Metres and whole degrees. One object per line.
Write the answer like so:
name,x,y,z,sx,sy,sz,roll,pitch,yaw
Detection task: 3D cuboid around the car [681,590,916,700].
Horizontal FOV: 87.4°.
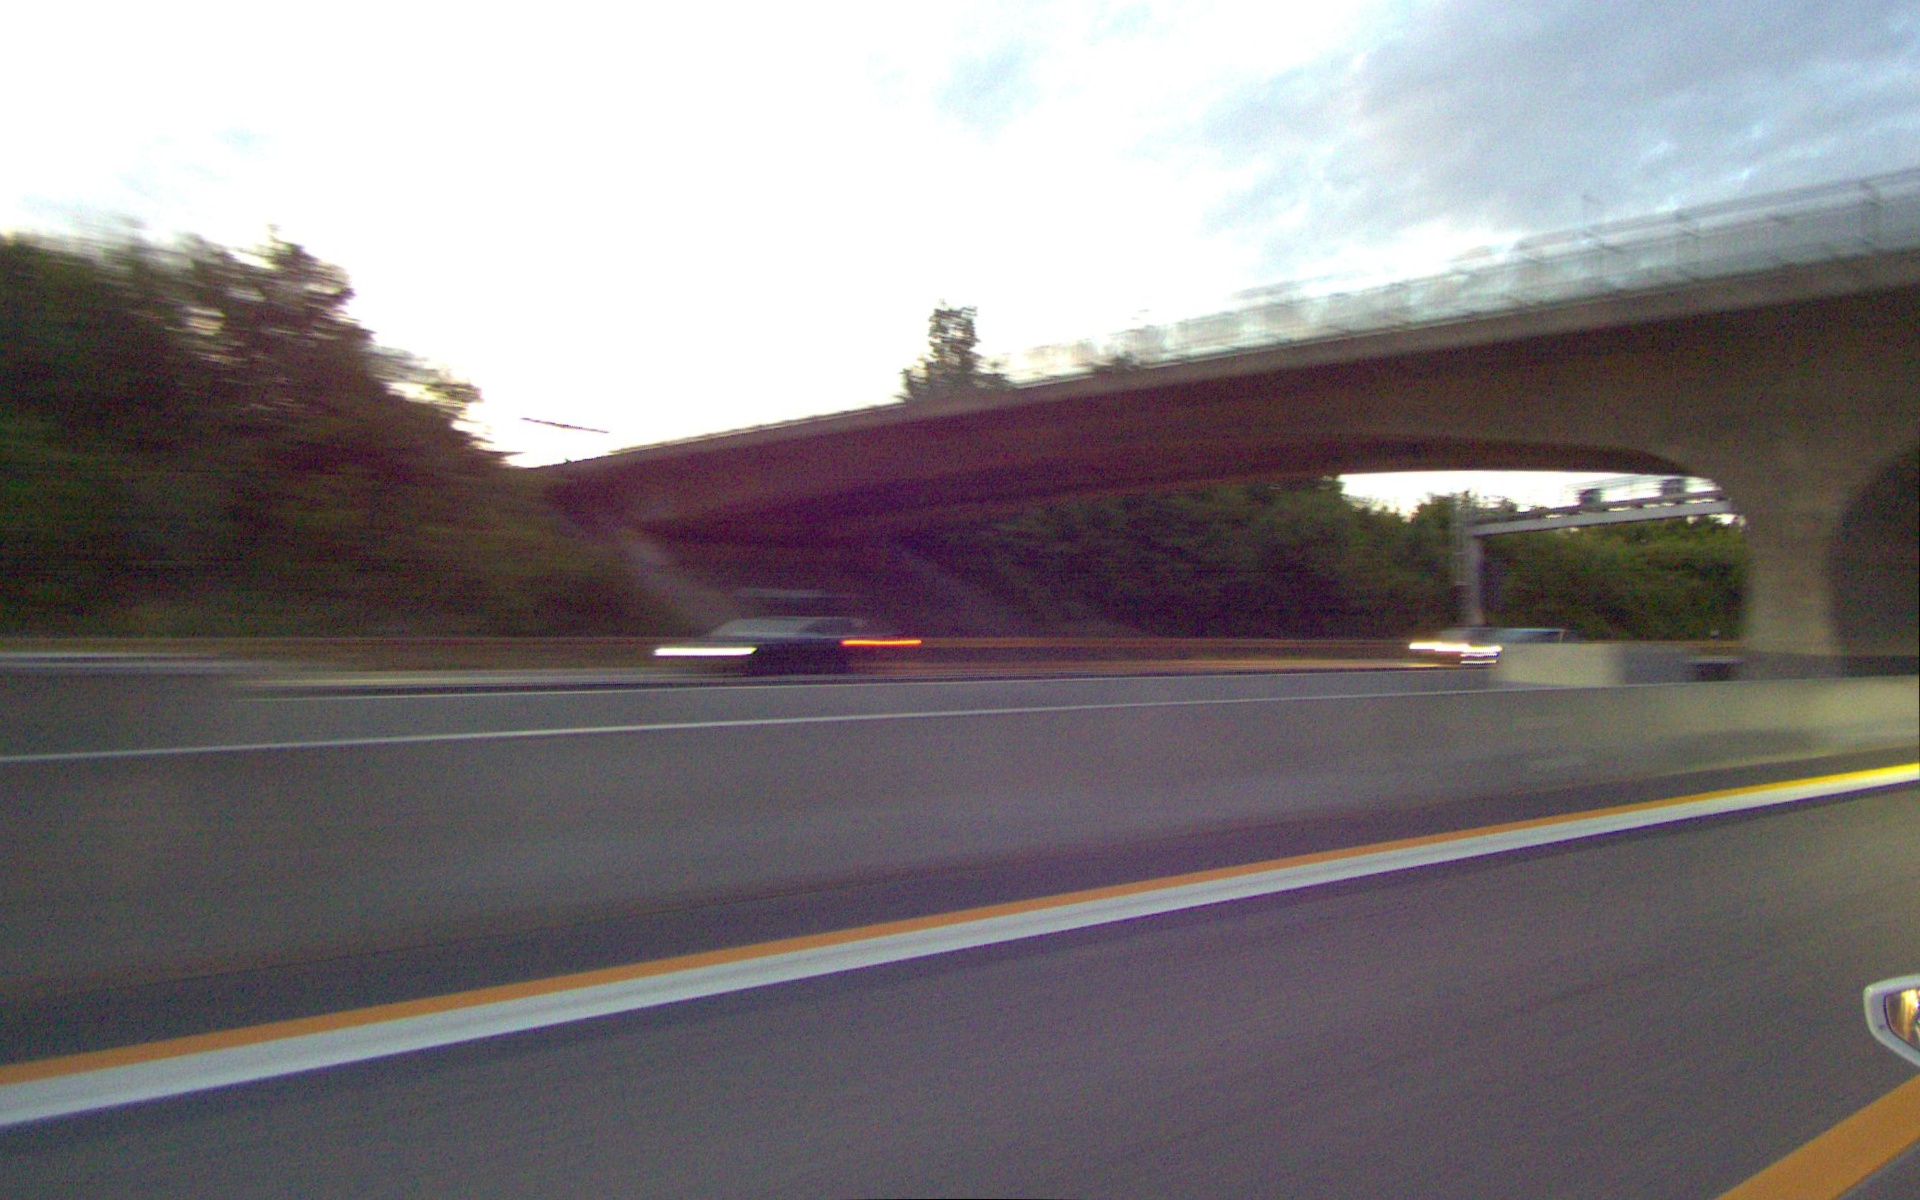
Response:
car,-3.570,0.974,22.429,4.746,2.219,1.984,2,0,-30

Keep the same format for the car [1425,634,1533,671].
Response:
car,20.275,2.045,39.244,3.954,1.340,1.984,1,-1,-31

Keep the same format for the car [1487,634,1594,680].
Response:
car,19.979,1.937,34.574,3.478,1.425,1.619,2,0,-29
